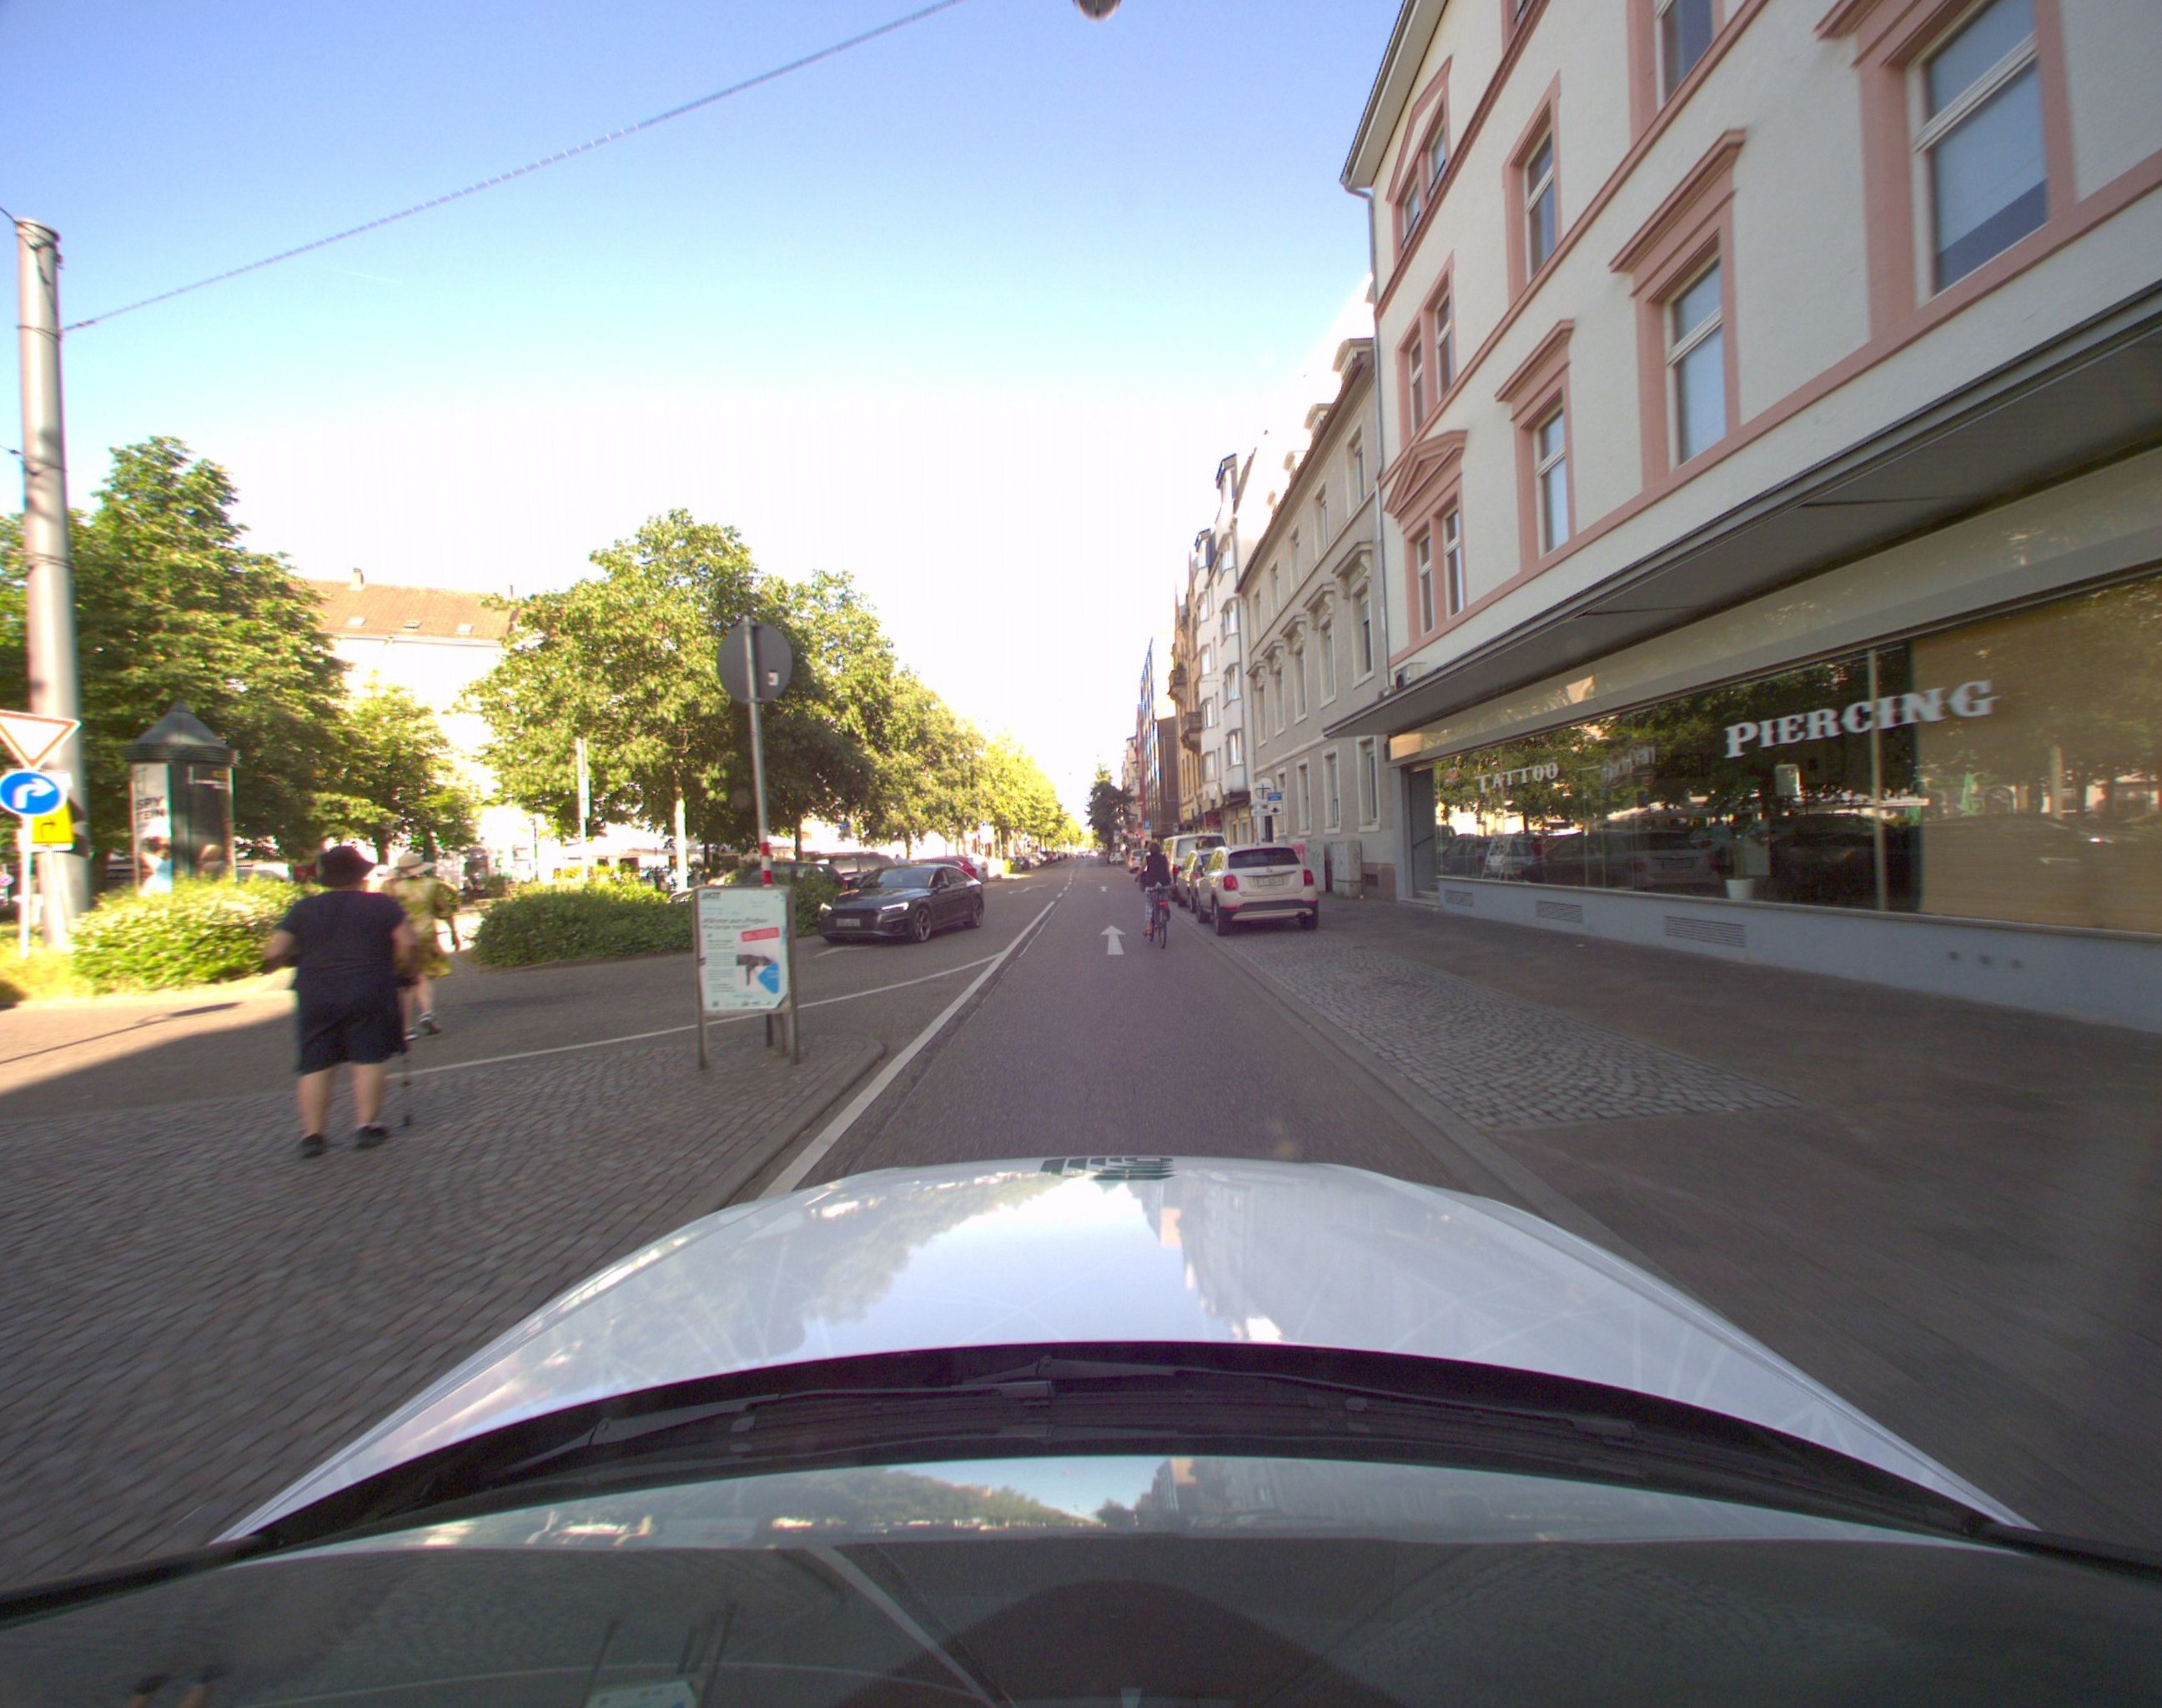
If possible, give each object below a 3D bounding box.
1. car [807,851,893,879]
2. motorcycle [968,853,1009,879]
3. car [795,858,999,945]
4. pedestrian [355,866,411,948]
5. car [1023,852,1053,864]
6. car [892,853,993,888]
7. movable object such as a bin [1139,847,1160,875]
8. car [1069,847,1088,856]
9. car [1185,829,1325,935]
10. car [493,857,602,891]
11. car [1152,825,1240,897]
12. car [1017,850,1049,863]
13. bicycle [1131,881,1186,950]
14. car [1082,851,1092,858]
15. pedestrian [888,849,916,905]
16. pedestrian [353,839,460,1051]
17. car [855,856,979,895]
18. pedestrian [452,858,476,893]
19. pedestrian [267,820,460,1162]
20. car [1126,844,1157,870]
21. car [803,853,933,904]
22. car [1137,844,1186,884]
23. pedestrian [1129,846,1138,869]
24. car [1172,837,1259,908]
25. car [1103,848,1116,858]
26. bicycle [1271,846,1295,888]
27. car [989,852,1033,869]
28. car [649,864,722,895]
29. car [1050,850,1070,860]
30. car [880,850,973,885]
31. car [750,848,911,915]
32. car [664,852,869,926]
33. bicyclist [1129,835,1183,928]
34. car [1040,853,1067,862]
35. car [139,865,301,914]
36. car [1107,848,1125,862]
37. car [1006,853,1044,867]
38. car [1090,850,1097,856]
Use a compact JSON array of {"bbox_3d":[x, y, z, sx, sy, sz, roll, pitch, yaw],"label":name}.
[{"bbox_3d":[-15.570,0.732,55.003,5.291,1.800,2.145,-1,-1,-26],"label":"car"},{"bbox_3d":[-6.190,0.775,54.405,2.451,1.604,1.005,-3,0,19],"label":"motorcycle"},{"bbox_3d":[-3.317,0.815,15.884,1.898,1.417,4.828,-1,-1,14],"label":"car"},{"bbox_3d":[-13.606,1.003,15.874,0.774,1.522,0.947,0,-1,-44],"label":"pedestrian"},{"bbox_3d":[-5.829,0.565,111.216,3.973,1.508,2.000,-1,0,0],"label":"car"},{"bbox_3d":[-6.260,0.733,36.855,4.241,1.477,1.722,0,-1,-24],"label":"car"},{"bbox_3d":[3.901,0.407,46.179,1.068,1.457,1.495,-5,1,6],"label":"movable object such as a bin"},{"bbox_3d":[-0.549,-0.658,192.580,3.962,2.013,2.006,-2,0,10],"label":"car"},{"bbox_3d":[3.225,0.492,16.084,1.739,1.739,4.961,-1,-1,1],"label":"car"},{"bbox_3d":[-33.937,1.248,52.042,5.604,2.014,1.802,-1,-1,-26],"label":"car"},{"bbox_3d":[3.533,0.184,25.958,1.987,2.004,5.116,-2,0,0],"label":"car"},{"bbox_3d":[-6.231,0.323,106.599,3.972,1.508,1.895,-1,0,1],"label":"car"},{"bbox_3d":[1.234,0.955,13.399,0.650,0.958,2.698,-1,-1,0],"label":"bicycle"},{"bbox_3d":[1.379,0.193,181.804,1.986,1.556,4.001,-1,-1,2],"label":"car"},{"bbox_3d":[-5.323,0.683,24.231,0.698,1.649,0.645,-1,-1,-6],"label":"pedestrian"},{"bbox_3d":[-5.851,0.735,7.070,0.673,1.699,0.795,0,-1,-41],"label":"pedestrian"},{"bbox_3d":[-6.776,0.866,33.720,4.850,1.488,1.753,-1,-1,-19],"label":"car"},{"bbox_3d":[-27.665,0.948,36.495,0.666,1.547,0.561,-1,-1,18],"label":"pedestrian"},{"bbox_3d":[-3.869,0.671,4.450,0.640,1.672,0.686,-1,-1,-28],"label":"pedestrian"},{"bbox_3d":[4.168,0.217,56.765,1.892,1.675,4.825,-1,-1,1],"label":"car"},{"bbox_3d":[-7.210,0.812,27.870,3.977,1.598,1.748,-1,-1,-3],"label":"car"},{"bbox_3d":[3.460,0.444,35.674,1.712,1.515,3.583,-4,-1,1],"label":"car"},{"bbox_3d":[3.970,0.257,61.487,0.611,1.735,0.634,-1,-1,2],"label":"pedestrian"},{"bbox_3d":[3.374,0.452,21.059,1.693,1.604,3.758,-2,-1,2],"label":"car"},{"bbox_3d":[4.571,-0.185,130.297,1.987,1.453,4.000,-2,0,1],"label":"car"},{"bbox_3d":[6.184,0.388,24.895,0.479,1.186,1.728,-5,-2,19],"label":"bicycle"},{"bbox_3d":[-6.661,0.593,77.810,3.972,1.508,2.001,-1,0,1],"label":"car"},{"bbox_3d":[-24.572,1.549,50.737,3.923,1.771,1.966,-1,-1,-22],"label":"car"},{"bbox_3d":[-4.568,0.288,179.919,3.962,2.013,2.006,-2,0,10],"label":"car"},{"bbox_3d":[-7.402,0.625,39.026,4.013,1.586,1.813,0,-1,-31],"label":"car"},{"bbox_3d":[-6.721,0.689,22.188,3.994,1.668,1.990,-1,0,-15],"label":"car"},{"bbox_3d":[-7.063,0.720,18.421,4.016,1.470,1.855,-1,-1,-34],"label":"car"},{"bbox_3d":[1.220,0.443,13.490,0.783,1.453,1.095,-1,-1,0],"label":"bicyclist"},{"bbox_3d":[-4.299,0.555,128.722,3.969,1.508,2.002,0,0,4],"label":"car"},{"bbox_3d":[-44.253,1.795,42.041,5.358,2.314,1.985,-1,-1,-23],"label":"car"},{"bbox_3d":[4.245,0.129,97.989,1.985,1.618,4.013,-1,-1,3],"label":"car"},{"bbox_3d":[-6.236,0.657,90.651,3.972,1.508,2.001,-1,0,1],"label":"car"},{"bbox_3d":[3.183,-0.209,206.401,1.863,1.556,4.001,-1,-1,2],"label":"car"}]
